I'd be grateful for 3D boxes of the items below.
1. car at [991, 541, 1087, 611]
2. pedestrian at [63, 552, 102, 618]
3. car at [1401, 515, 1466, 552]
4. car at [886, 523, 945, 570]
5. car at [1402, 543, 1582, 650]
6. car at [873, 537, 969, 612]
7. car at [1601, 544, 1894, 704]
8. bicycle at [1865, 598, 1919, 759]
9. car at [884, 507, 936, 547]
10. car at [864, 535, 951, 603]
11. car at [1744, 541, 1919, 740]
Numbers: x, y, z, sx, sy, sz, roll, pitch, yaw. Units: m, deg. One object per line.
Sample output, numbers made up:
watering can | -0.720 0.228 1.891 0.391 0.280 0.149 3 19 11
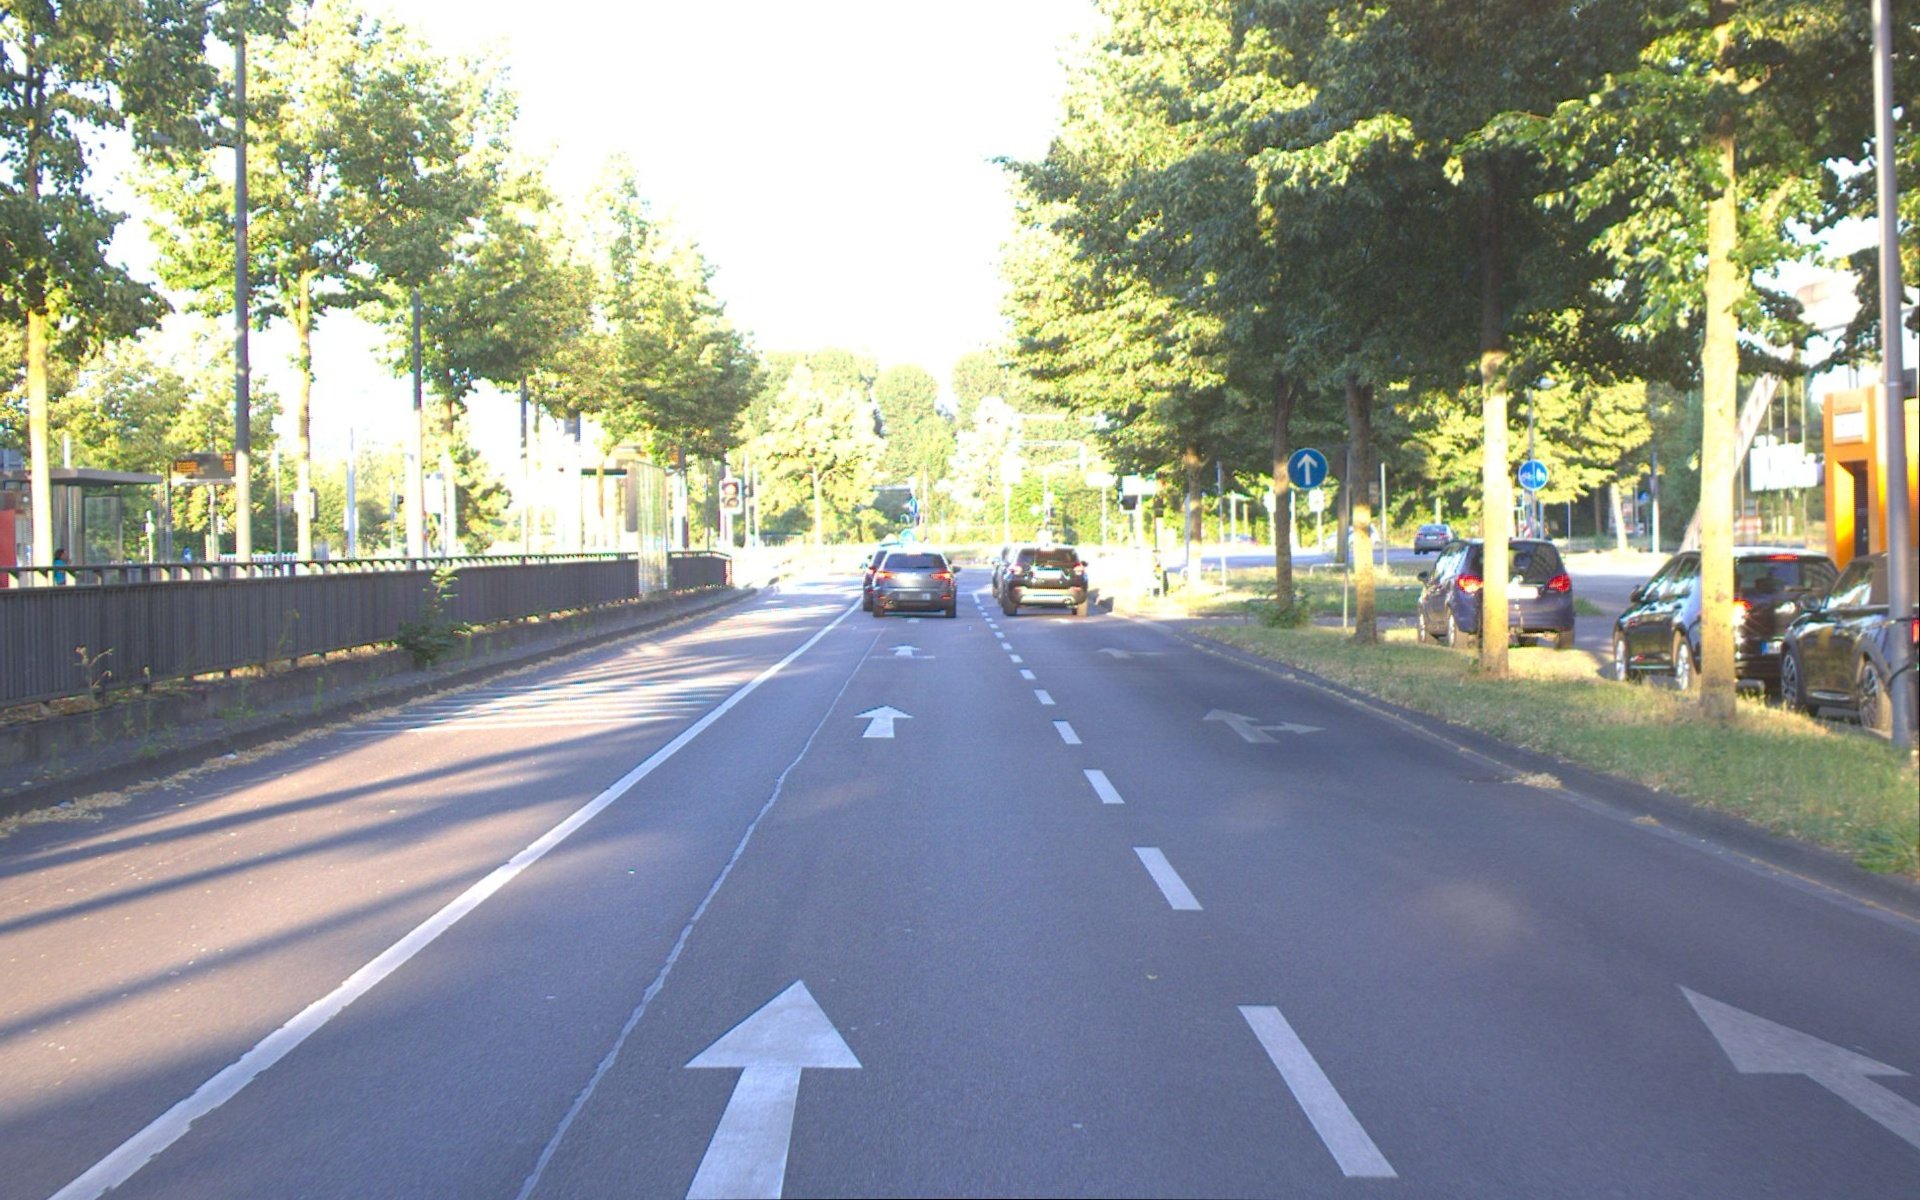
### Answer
car | 1.686 -0.541 74.797 1.911 1.481 4.000 -1 1 -1
pedestrian | -17.878 -0.313 70.031 0.614 1.315 0.745 -1 1 -4
car | 22.582 -3.172 163.970 1.996 1.722 3.995 -1 1 25
car | -1.475 -1.758 113.192 1.911 1.481 4.000 -1 1 -1
car | 7.627 -0.084 49.616 1.756 1.461 4.159 -1 1 -3
car | -0.828 -0.552 71.824 1.911 1.481 4.000 -1 1 -1
car | 7.761 0.190 34.287 1.777 1.467 4.289 -1 1 -2
bicycle | 6.142 0.494 21.816 0.319 0.977 1.846 -1 1 1
car | -1.884 -2.759 129.938 1.911 1.481 4.000 -1 1 -1
car | -1.204 -0.731 78.426 1.911 1.481 4.000 -1 1 -1
car | 7.509 0.268 27.547 1.575 1.467 3.881 -1 1 0
